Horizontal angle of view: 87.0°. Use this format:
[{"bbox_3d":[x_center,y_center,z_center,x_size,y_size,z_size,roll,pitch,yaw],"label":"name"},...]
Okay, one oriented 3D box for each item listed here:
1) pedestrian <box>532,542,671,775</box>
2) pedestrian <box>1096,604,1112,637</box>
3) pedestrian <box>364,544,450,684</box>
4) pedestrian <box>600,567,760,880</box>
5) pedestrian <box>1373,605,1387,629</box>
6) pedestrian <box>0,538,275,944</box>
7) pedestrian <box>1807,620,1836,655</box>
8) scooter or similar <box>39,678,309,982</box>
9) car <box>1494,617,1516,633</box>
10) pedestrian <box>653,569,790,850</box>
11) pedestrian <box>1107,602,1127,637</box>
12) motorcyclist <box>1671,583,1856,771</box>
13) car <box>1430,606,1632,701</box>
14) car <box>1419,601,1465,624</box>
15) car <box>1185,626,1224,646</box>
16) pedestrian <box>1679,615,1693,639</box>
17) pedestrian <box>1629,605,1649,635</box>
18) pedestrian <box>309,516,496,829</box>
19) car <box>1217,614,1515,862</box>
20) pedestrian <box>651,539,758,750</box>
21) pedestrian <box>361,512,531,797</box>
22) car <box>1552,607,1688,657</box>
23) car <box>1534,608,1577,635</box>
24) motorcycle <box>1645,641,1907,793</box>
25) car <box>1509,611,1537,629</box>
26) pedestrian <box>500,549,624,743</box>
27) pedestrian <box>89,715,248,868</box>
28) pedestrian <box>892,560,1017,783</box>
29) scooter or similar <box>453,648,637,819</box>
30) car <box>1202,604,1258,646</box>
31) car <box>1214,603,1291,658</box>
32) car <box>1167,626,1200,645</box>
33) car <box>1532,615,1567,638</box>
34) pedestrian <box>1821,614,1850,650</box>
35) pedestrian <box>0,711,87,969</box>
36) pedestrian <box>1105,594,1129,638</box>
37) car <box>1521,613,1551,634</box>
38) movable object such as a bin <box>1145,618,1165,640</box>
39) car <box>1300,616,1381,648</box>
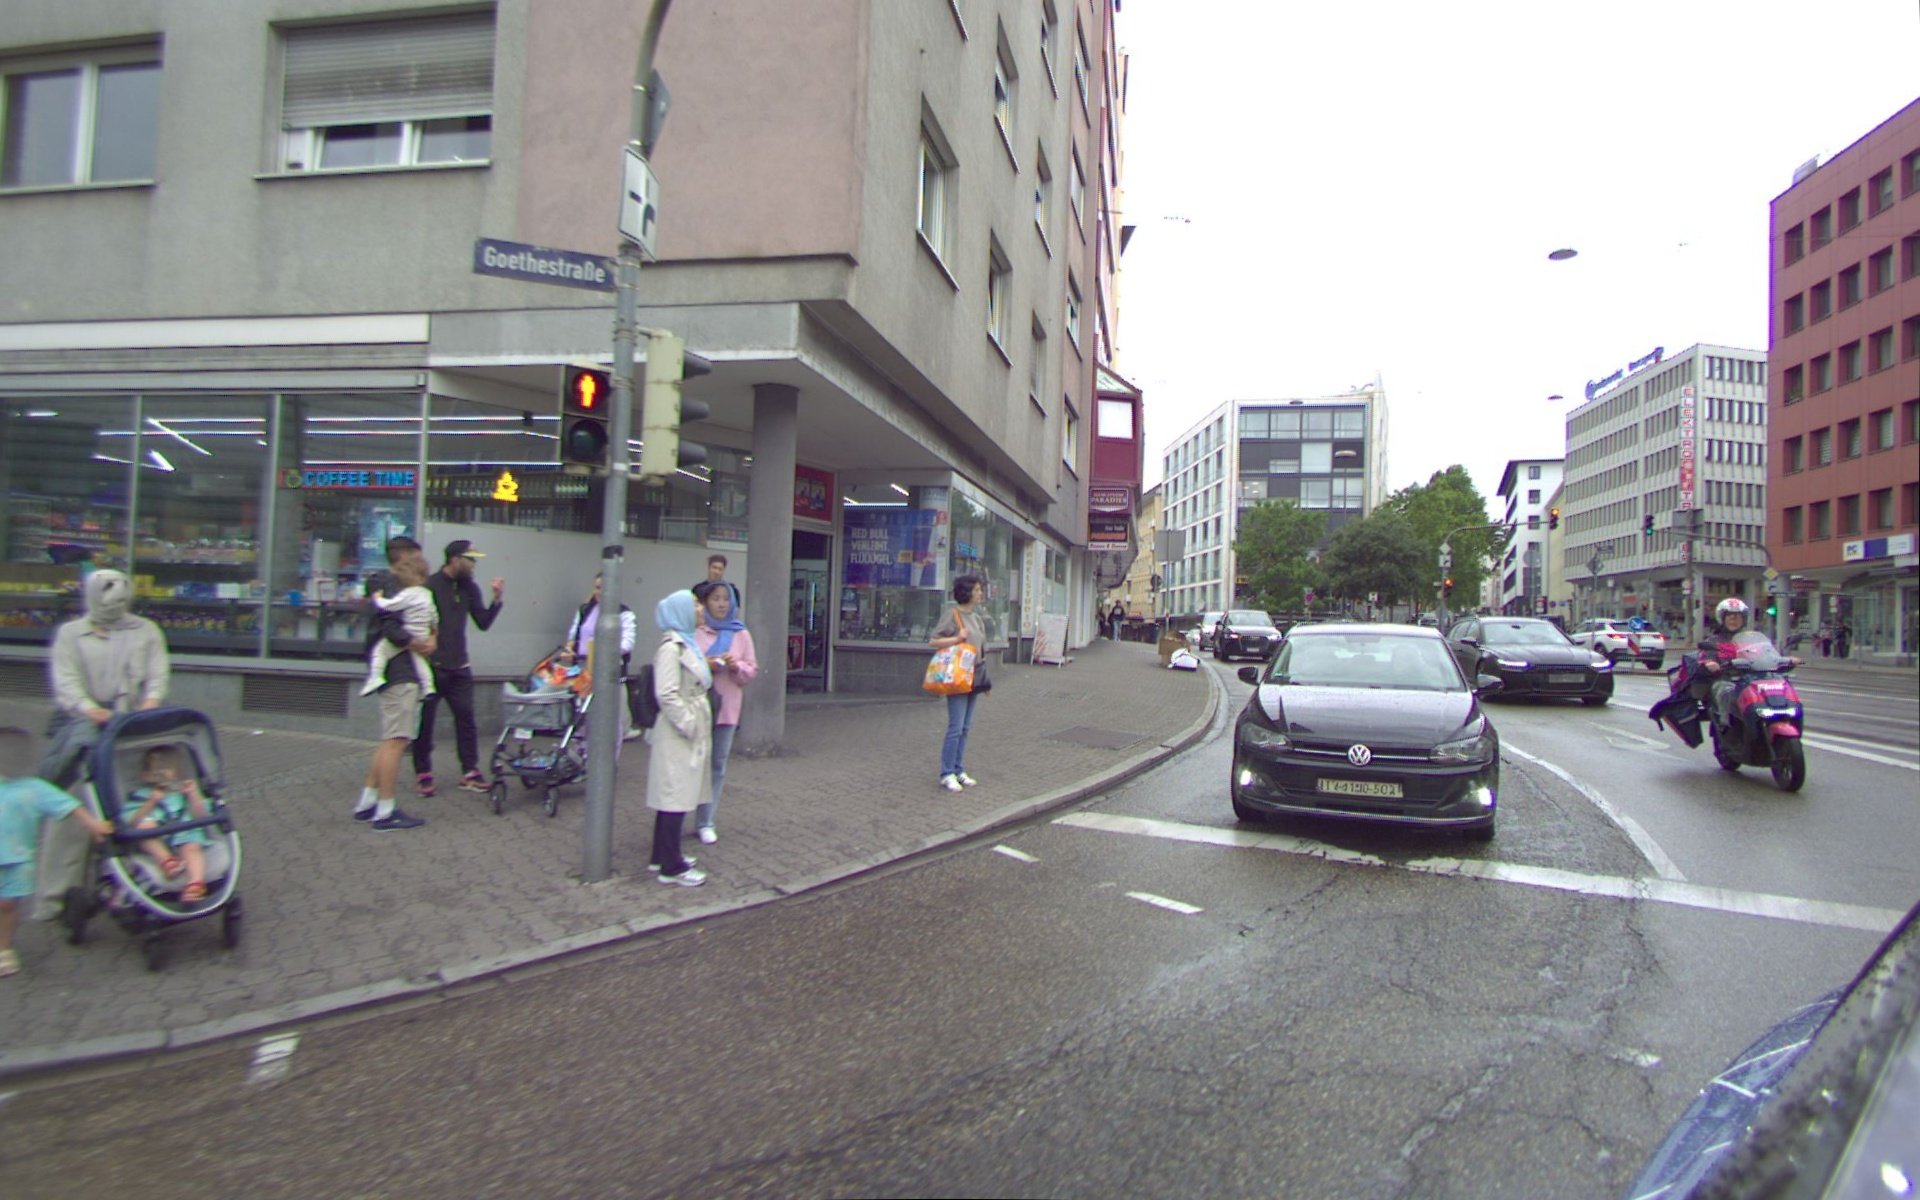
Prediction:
[{"bbox_3d":[-2.843,0.427,8.050,0.828,1.744,0.614,2,2,20],"label":"pedestrian"},{"bbox_3d":[7.873,1.104,55.300,0.612,1.786,0.780,-2,-3,31],"label":"pedestrian"},{"bbox_3d":[-3.534,0.092,6.481,0.219,0.858,0.436,-2,-2,32],"label":"pedestrian"},{"bbox_3d":[-1.616,0.660,5.928,0.532,1.657,0.836,4,3,11],"label":"pedestrian"},{"bbox_3d":[32.398,1.337,78.123,0.774,1.838,0.592,-1,-4,3],"label":"pedestrian"},{"bbox_3d":[-4.123,0.596,4.972,1.029,1.744,0.830,2,0,28],"label":"pedestrian"},{"bbox_3d":[41.303,1.792,48.509,0.718,1.651,0.695,0,-3,-15],"label":"pedestrian"},{"bbox_3d":[-3.601,0.975,4.642,0.965,1.123,0.648,3,0,31],"label":"scooter or similar"},{"bbox_3d":[65.101,2.987,120.910,2.007,1.865,4.007,-2,-3,26],"label":"car"},{"bbox_3d":[-1.543,0.644,6.506,0.585,1.654,0.745,0,3,-37],"label":"pedestrian"},{"bbox_3d":[7.842,0.990,50.493,0.748,1.745,0.745,-2,-3,31],"label":"pedestrian"},{"bbox_3d":[7.439,0.683,9.445,1.080,1.625,0.946,-1,-2,22],"label":"motorcyclist"},{"bbox_3d":[10.333,0.904,18.765,1.970,1.510,4.714,0,-1,13],"label":"car"},{"bbox_3d":[49.678,1.296,104.310,1.952,2.294,3.827,0,-2,-42],"label":"car"},{"bbox_3d":[19.215,2.817,79.679,1.937,1.406,3.999,3,-2,-1],"label":"car"},{"bbox_3d":[50.039,1.862,69.767,0.709,1.643,0.716,0,-2,30],"label":"pedestrian"},{"bbox_3d":[46.576,1.397,69.392,0.984,2.039,0.938,0,-2,26],"label":"pedestrian"},{"bbox_3d":[-3.624,0.424,6.601,0.827,1.887,0.655,3,3,16],"label":"pedestrian"},{"bbox_3d":[3.337,0.845,8.052,1.726,1.449,3.843,-1,-1,27],"label":"car"},{"bbox_3d":[-2.435,0.407,9.618,0.655,1.890,0.836,1,-3,-45],"label":"pedestrian"},{"bbox_3d":[-3.749,0.361,7.418,0.810,1.956,0.727,1,0,20],"label":"pedestrian"},{"bbox_3d":[22.053,1.096,34.067,1.965,1.572,4.419,-1,-2,6],"label":"car"},{"bbox_3d":[48.310,1.769,82.211,2.070,2.118,4.584,-1,-2,19],"label":"car"},{"bbox_3d":[7.451,0.994,9.449,1.298,1.150,2.168,0,-1,22],"label":"motorcycle"},{"bbox_3d":[53.824,1.930,96.874,1.913,1.694,4.407,-2,-3,24],"label":"car"},{"bbox_3d":[-3.625,0.384,9.265,0.609,1.656,0.834,4,2,15],"label":"pedestrian"},{"bbox_3d":[-3.598,0.849,4.611,0.369,0.578,0.453,2,0,30],"label":"pedestrian"},{"bbox_3d":[-0.043,0.542,8.256,0.769,1.713,0.627,1,1,-43],"label":"pedestrian"},{"bbox_3d":[-2.908,0.900,7.188,0.760,0.998,1.045,2,2,11],"label":"scooter or similar"},{"bbox_3d":[10.994,1.059,41.052,1.974,1.604,4.077,-1,-3,18],"label":"car"},{"bbox_3d":[8.926,0.926,31.149,1.843,1.567,4.090,-1,-2,10],"label":"car"},{"bbox_3d":[18.999,3.032,86.116,1.776,1.518,3.999,0,-2,-1],"label":"car"},{"bbox_3d":[45.114,2.039,77.501,1.983,1.653,4.569,-2,-3,27],"label":"car"},{"bbox_3d":[43.215,1.570,49.966,0.727,1.771,0.734,0,-3,-18],"label":"pedestrian"},{"bbox_3d":[-4.032,1.008,4.254,0.260,1.012,0.466,5,2,34],"label":"pedestrian"},{"bbox_3d":[6.718,0.692,43.306,0.823,1.787,0.617,4,-3,3],"label":"pedestrian"},{"bbox_3d":[51.404,2.112,90.419,2.007,1.772,4.570,-2,-3,26],"label":"car"},{"bbox_3d":[8.777,1.298,45.453,0.661,0.946,0.531,6,-1,-44],"label":"movable object such as a bin"},{"bbox_3d":[21.299,1.759,56.711,3.916,1.705,2.003,0,-1,-22],"label":"car"}]
